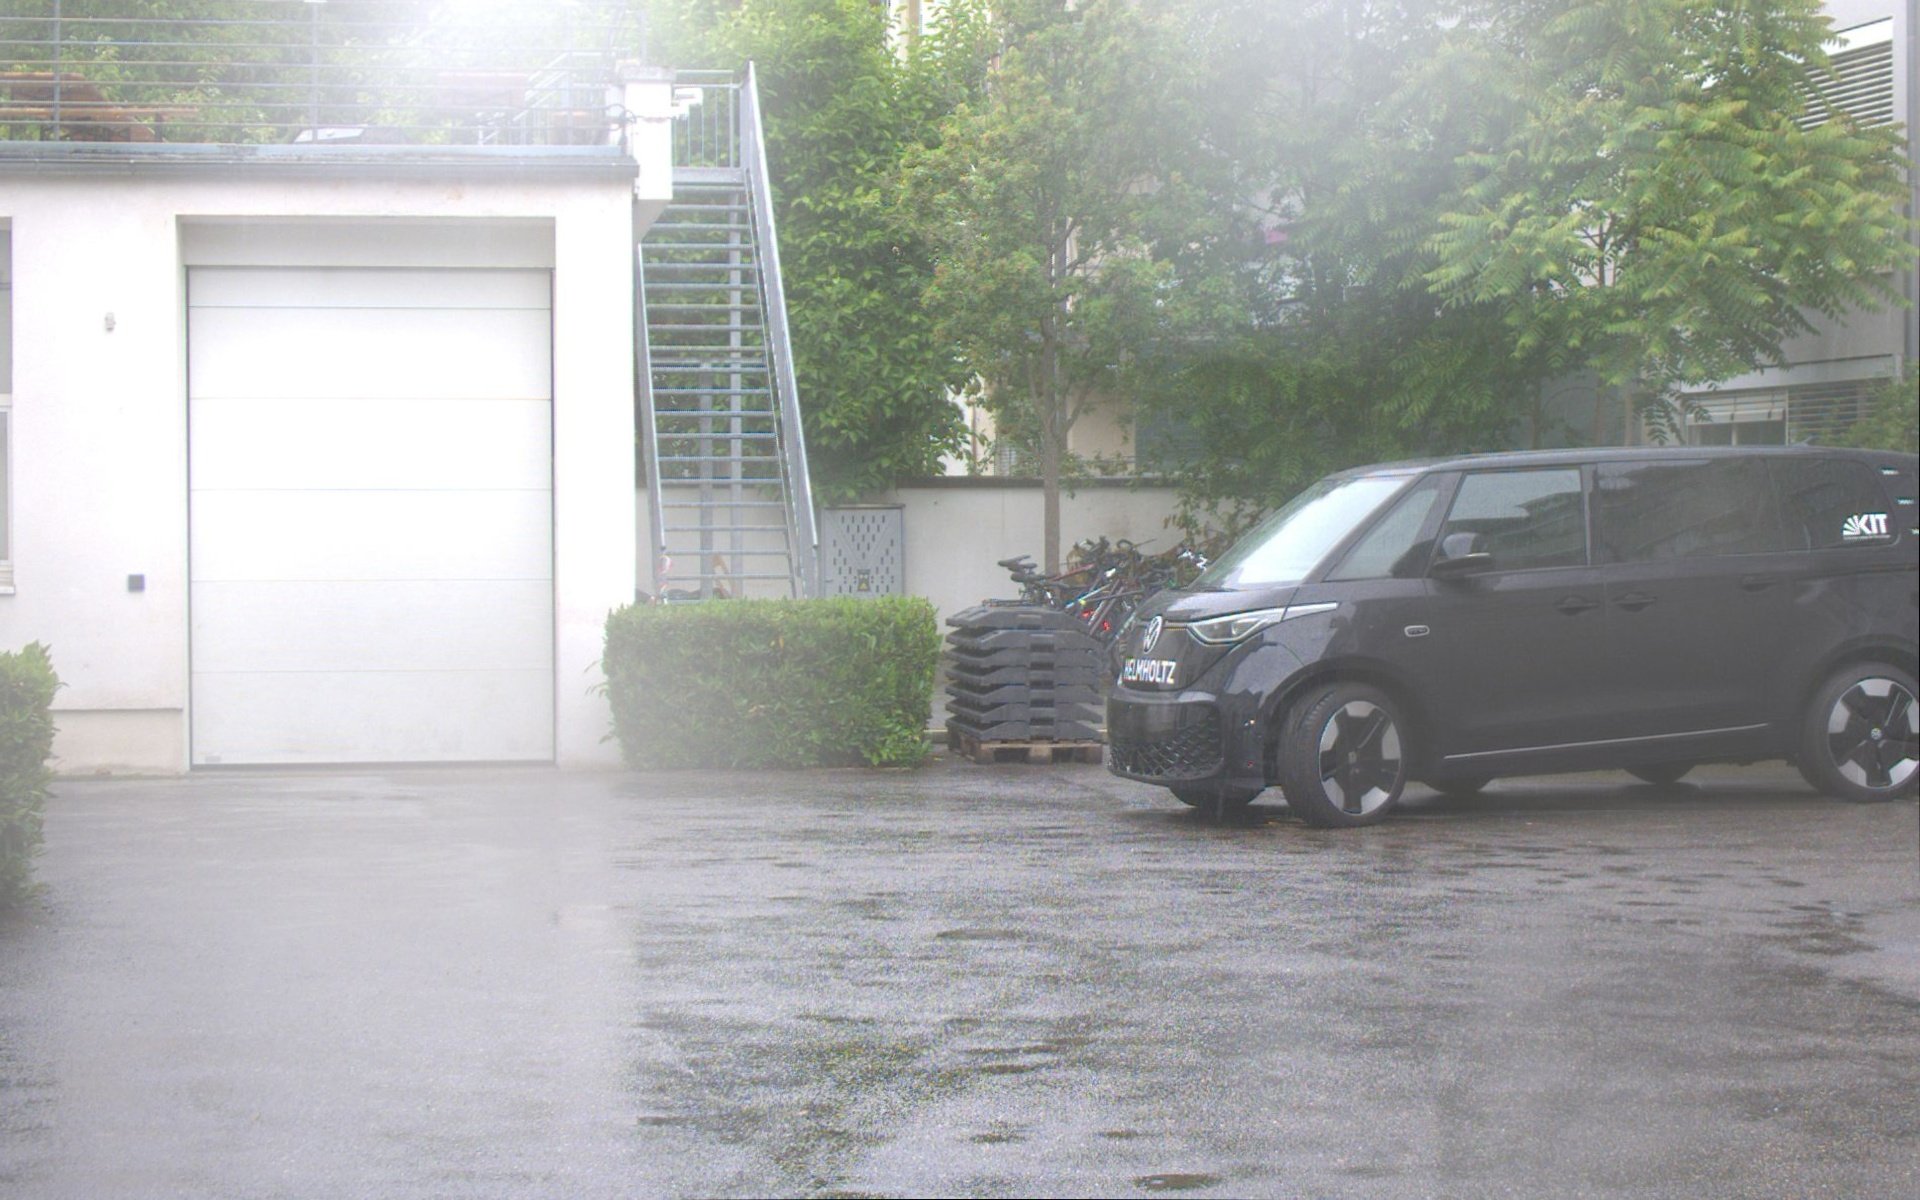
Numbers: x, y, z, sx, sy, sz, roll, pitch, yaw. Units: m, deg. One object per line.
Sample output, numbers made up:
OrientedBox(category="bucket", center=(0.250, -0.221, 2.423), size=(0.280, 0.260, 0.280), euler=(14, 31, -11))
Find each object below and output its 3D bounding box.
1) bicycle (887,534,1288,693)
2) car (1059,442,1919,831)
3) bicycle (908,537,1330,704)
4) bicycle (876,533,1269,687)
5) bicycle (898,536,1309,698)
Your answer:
OrientedBox(category="bicycle", center=(1.045, 0.099, 28.125), size=(3.213, 1.237, 0.631), euler=(-1, 1, -11))
OrientedBox(category="car", center=(2.998, 0.140, 18.373), size=(4.506, 1.891, 2.047), euler=(-1, 1, -17))
OrientedBox(category="bicycle", center=(1.241, 0.148, 26.766), size=(3.213, 1.237, 0.631), euler=(-1, 1, -11))
OrientedBox(category="bicycle", center=(0.942, 0.075, 28.769), size=(3.213, 1.237, 0.631), euler=(-1, 1, -11))
OrientedBox(category="bicycle", center=(1.145, 0.123, 27.459), size=(3.213, 1.237, 0.631), euler=(-1, 1, -11))
